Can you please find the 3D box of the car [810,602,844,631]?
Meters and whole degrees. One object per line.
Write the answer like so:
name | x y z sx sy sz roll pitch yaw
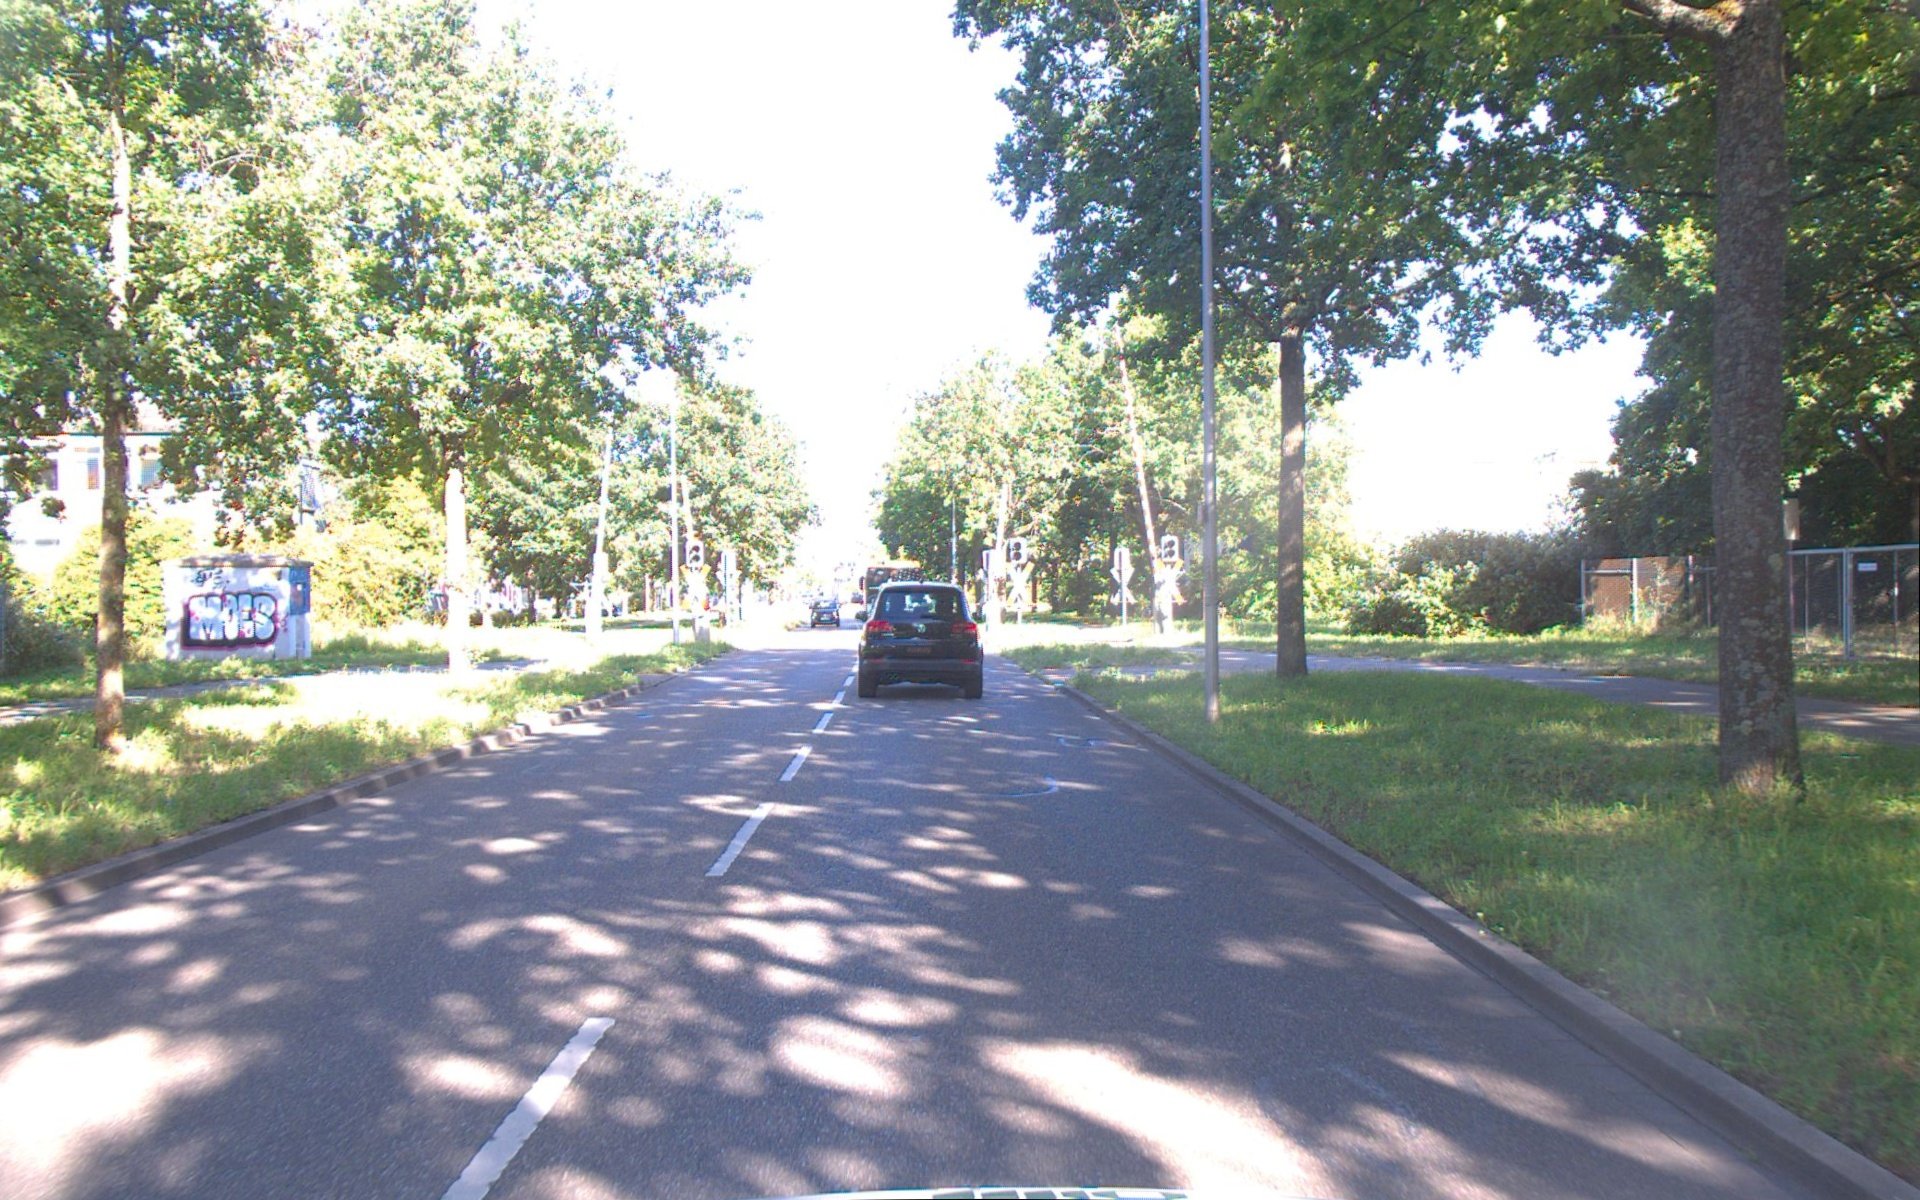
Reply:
car | -7.403 0.902 92.438 1.533 1.531 4.000 1 0 1

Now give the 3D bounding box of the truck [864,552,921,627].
truck | -3.098 -0.478 77.044 2.461 3.300 8.149 -1 0 -2

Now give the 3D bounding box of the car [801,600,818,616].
car | -19.534 1.024 214.695 1.957 2.049 3.992 1 0 -9

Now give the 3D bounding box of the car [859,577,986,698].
car | -0.573 0.520 25.106 1.746 1.662 3.999 1 0 -1
